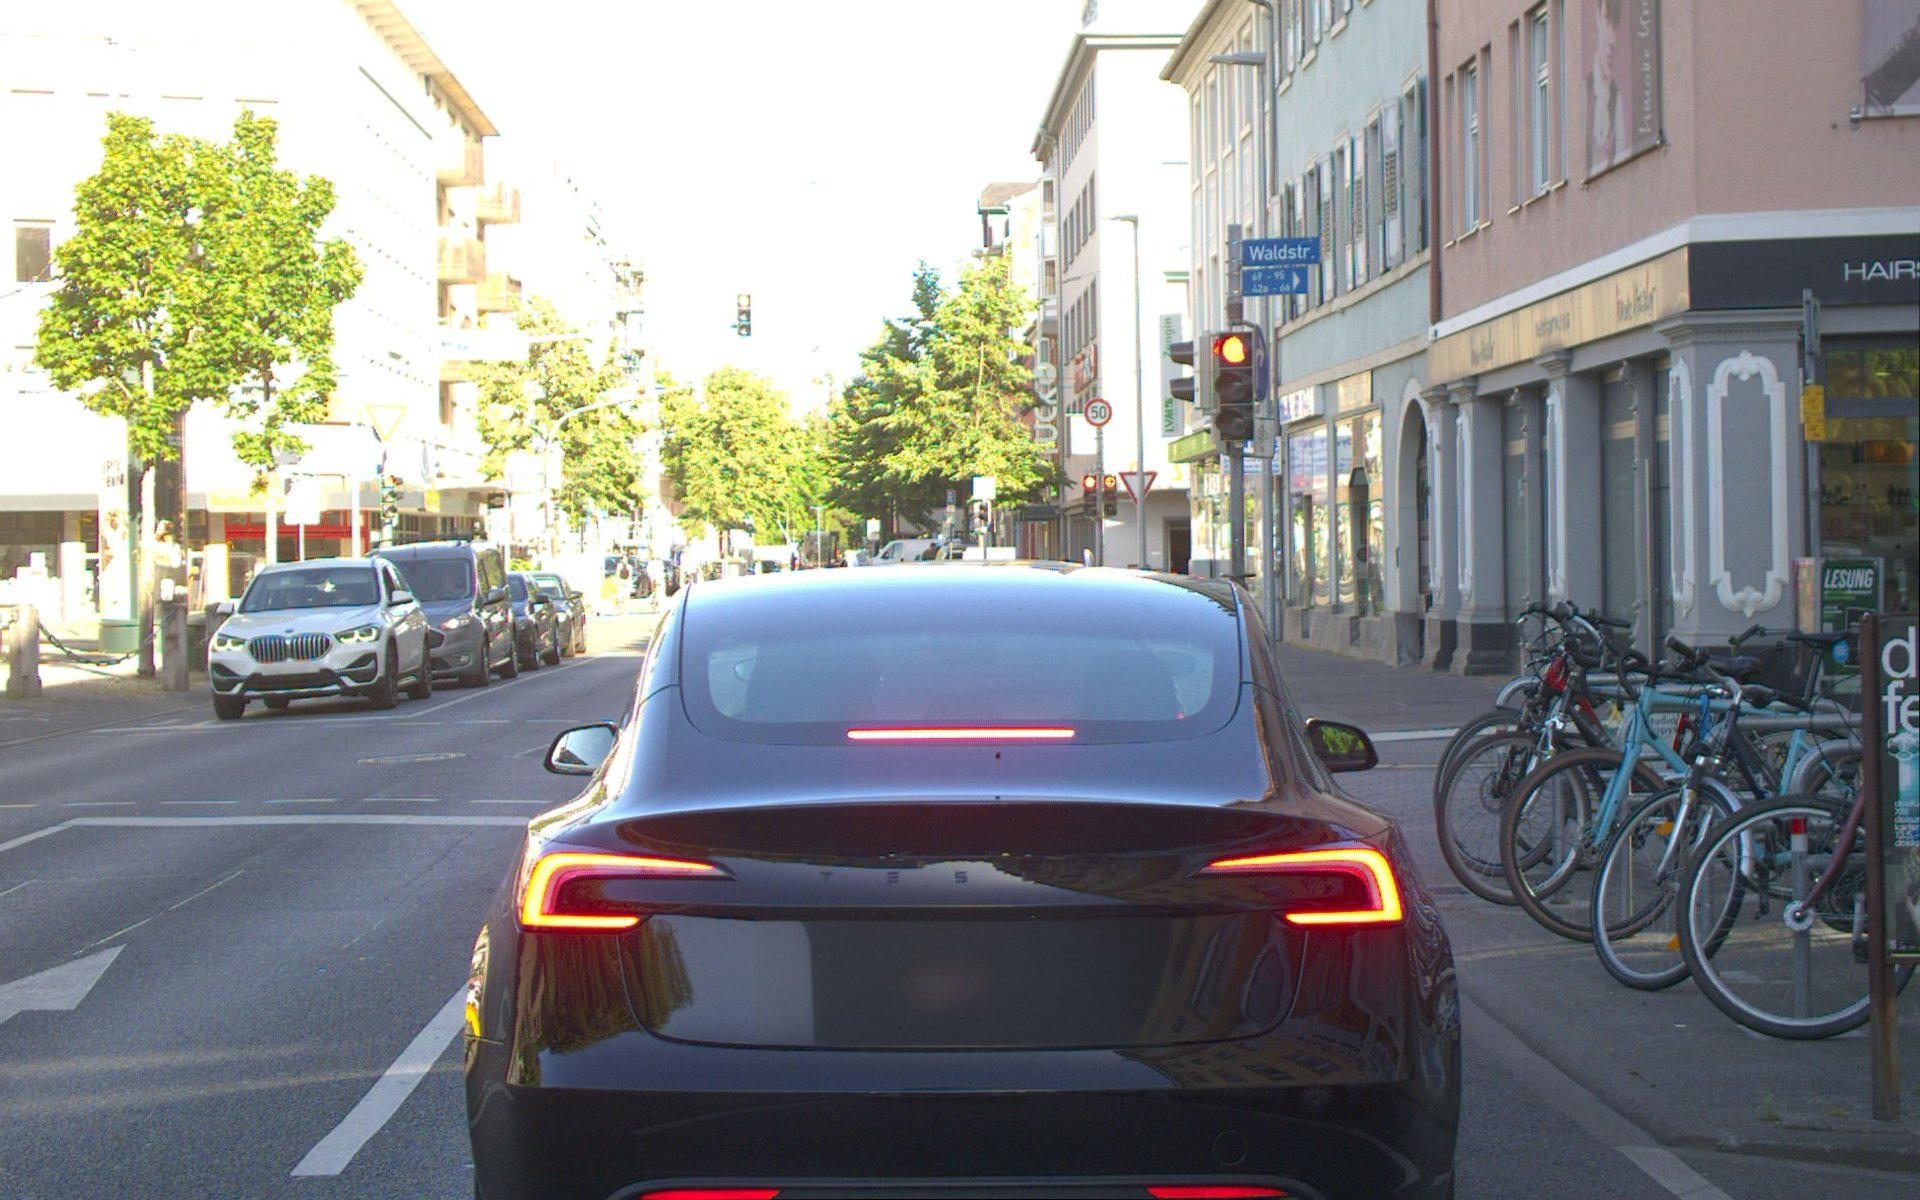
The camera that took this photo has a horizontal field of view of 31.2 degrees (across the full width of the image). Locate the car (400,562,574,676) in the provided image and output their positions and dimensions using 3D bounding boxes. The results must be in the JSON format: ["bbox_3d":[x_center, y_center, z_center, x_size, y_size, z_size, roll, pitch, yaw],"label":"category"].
[{"bbox_3d":[-6.744,0.238,49.450,1.993,1.405,4.675,-4,1,-3],"label":"car"}]

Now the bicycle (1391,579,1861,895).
[{"bbox_3d":[2.812,0.571,14.697,1.862,1.253,0.832,-2,1,5],"label":"bicycle"}]

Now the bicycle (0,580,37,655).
[{"bbox_3d":[-15.615,0.266,53.492,2.323,1.152,0.843,0,1,-5],"label":"bicycle"}]

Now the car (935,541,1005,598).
[{"bbox_3d":[0.268,-0.910,100.806,1.993,1.623,4.000,0,1,0],"label":"car"}]

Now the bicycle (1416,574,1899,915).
[{"bbox_3d":[2.743,0.559,13.666,1.746,1.262,0.781,-2,1,3],"label":"bicycle"}]

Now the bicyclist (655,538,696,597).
[{"bbox_3d":[-7.910,-0.915,95.631,1.126,1.623,0.965,0,1,-3],"label":"bicyclist"}]

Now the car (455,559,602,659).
[{"bbox_3d":[-7.109,0.119,57.041,1.993,1.431,4.675,-4,1,-3],"label":"car"}]

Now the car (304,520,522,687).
[{"bbox_3d":[-6.712,-0.006,42.622,1.834,1.838,4.674,-4,1,0],"label":"car"}]

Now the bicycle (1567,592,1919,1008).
[{"bbox_3d":[2.889,0.622,11.136,1.722,1.263,0.790,-2,1,5],"label":"bicycle"}]

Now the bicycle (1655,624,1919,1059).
[{"bbox_3d":[3.035,0.671,10.005,1.886,1.189,0.691,-2,1,5],"label":"bicycle"}]

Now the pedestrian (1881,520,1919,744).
[{"bbox_3d":[6.902,0.218,24.053,0.747,1.547,0.699,0,1,3],"label":"pedestrian"}]

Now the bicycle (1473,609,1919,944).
[{"bbox_3d":[2.809,0.624,12.488,1.798,1.120,0.781,-2,1,5],"label":"bicycle"}]

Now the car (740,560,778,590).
[{"bbox_3d":[-10.941,-1.378,187.092,1.993,1.631,4.001,0,1,-3],"label":"car"}]

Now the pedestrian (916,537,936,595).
[{"bbox_3d":[-1.194,-1.173,119.479,0.640,2.007,0.691,0,1,-4],"label":"pedestrian"}]

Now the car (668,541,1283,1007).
[{"bbox_3d":[-0.016,0.527,13.227,1.993,1.507,4.176,0,1,-2],"label":"car"}]

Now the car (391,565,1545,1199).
[{"bbox_3d":[-0.007,0.656,7.518,1.848,1.450,4.000,0,1,-1],"label":"car"}]

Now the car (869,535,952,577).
[{"bbox_3d":[-2.419,-2.156,167.571,3.986,2.007,2.000,0,1,-2],"label":"car"}]

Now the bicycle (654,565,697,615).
[{"bbox_3d":[-7.893,-0.299,95.548,1.111,1.340,4.001,0,1,-3],"label":"bicycle"}]

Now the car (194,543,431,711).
[{"bbox_3d":[-6.749,0.233,36.239,1.807,1.550,4.310,-4,1,-3],"label":"car"}]
